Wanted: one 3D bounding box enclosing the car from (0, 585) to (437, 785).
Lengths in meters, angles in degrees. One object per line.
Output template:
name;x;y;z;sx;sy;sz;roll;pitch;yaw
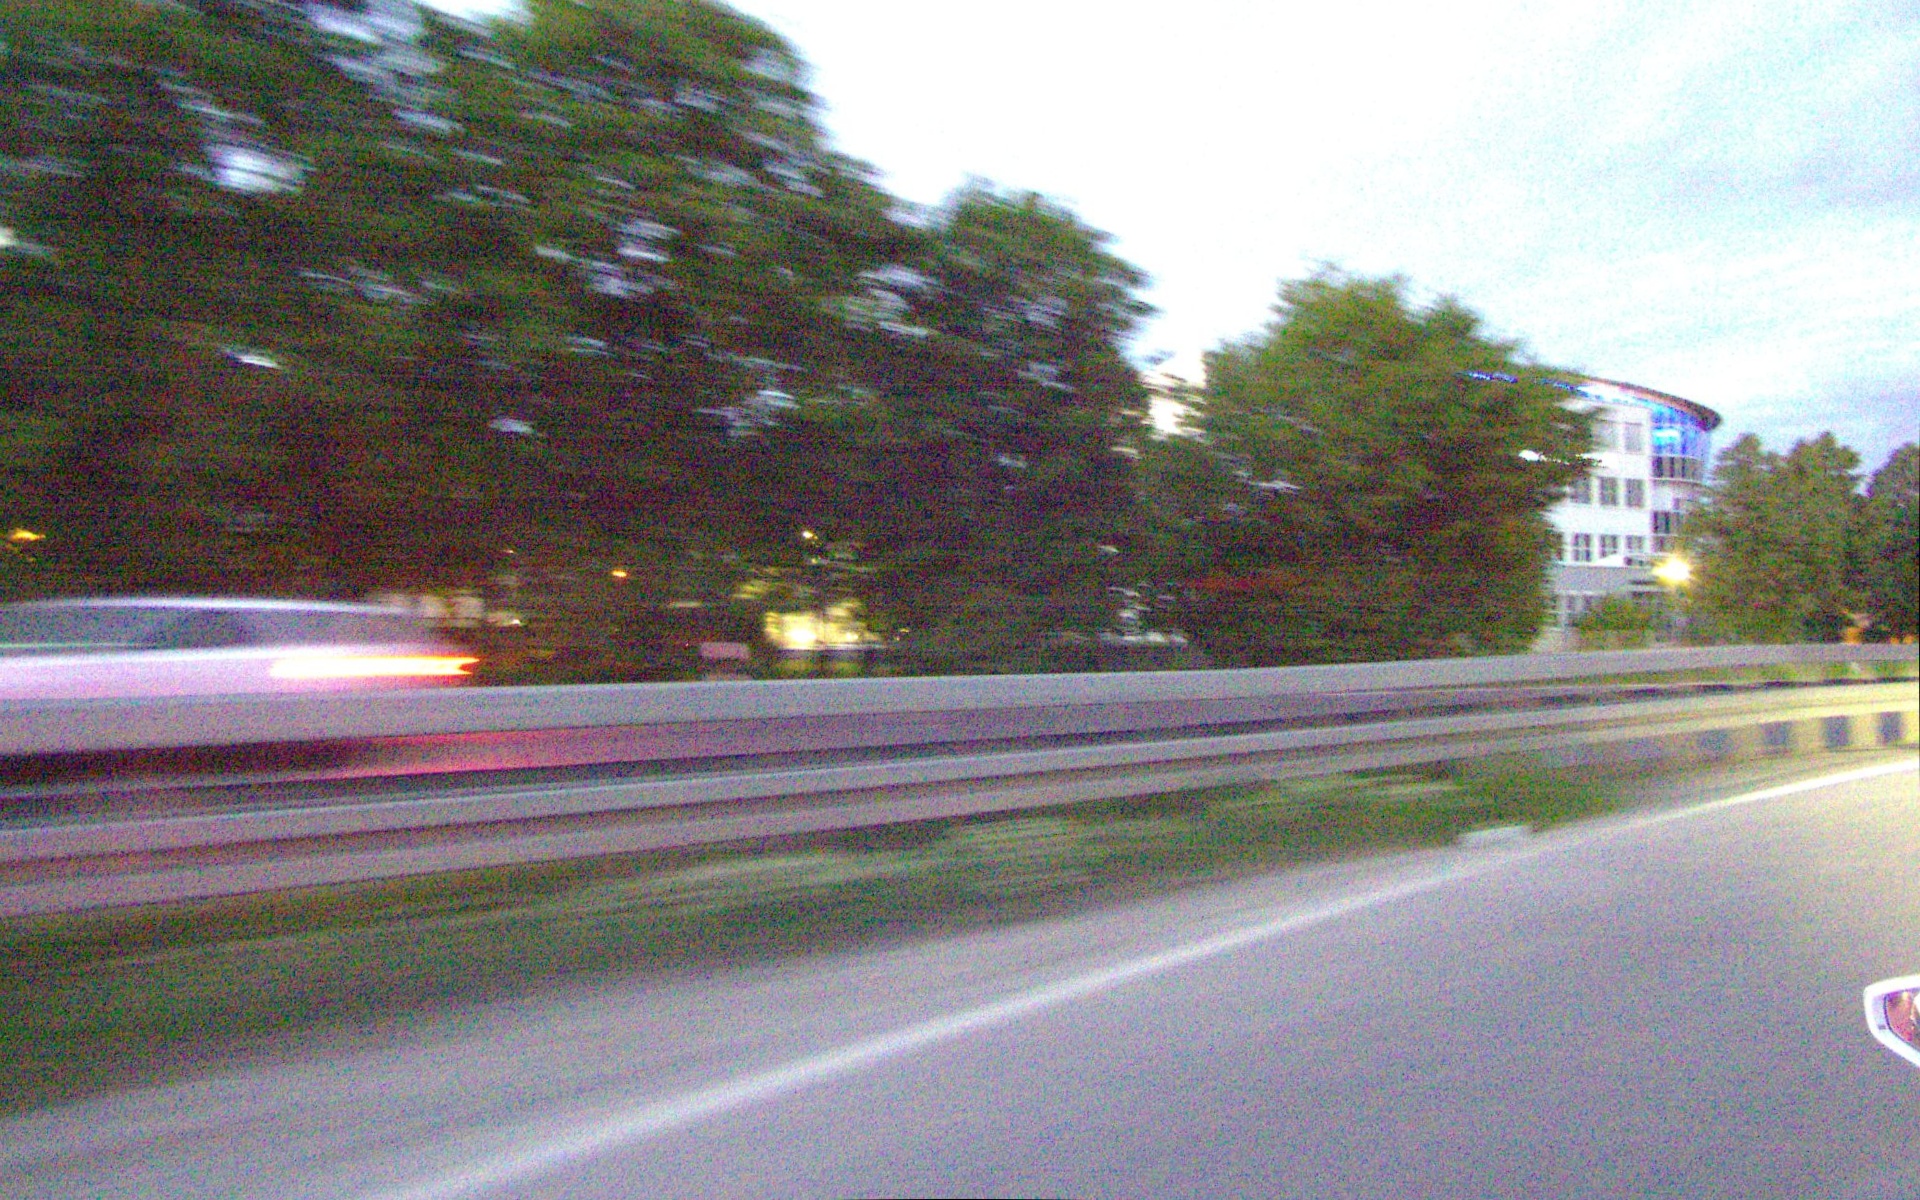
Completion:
car;-7.383;0.731;9.524;4.253;1.644;1.694;2;-1;-28
